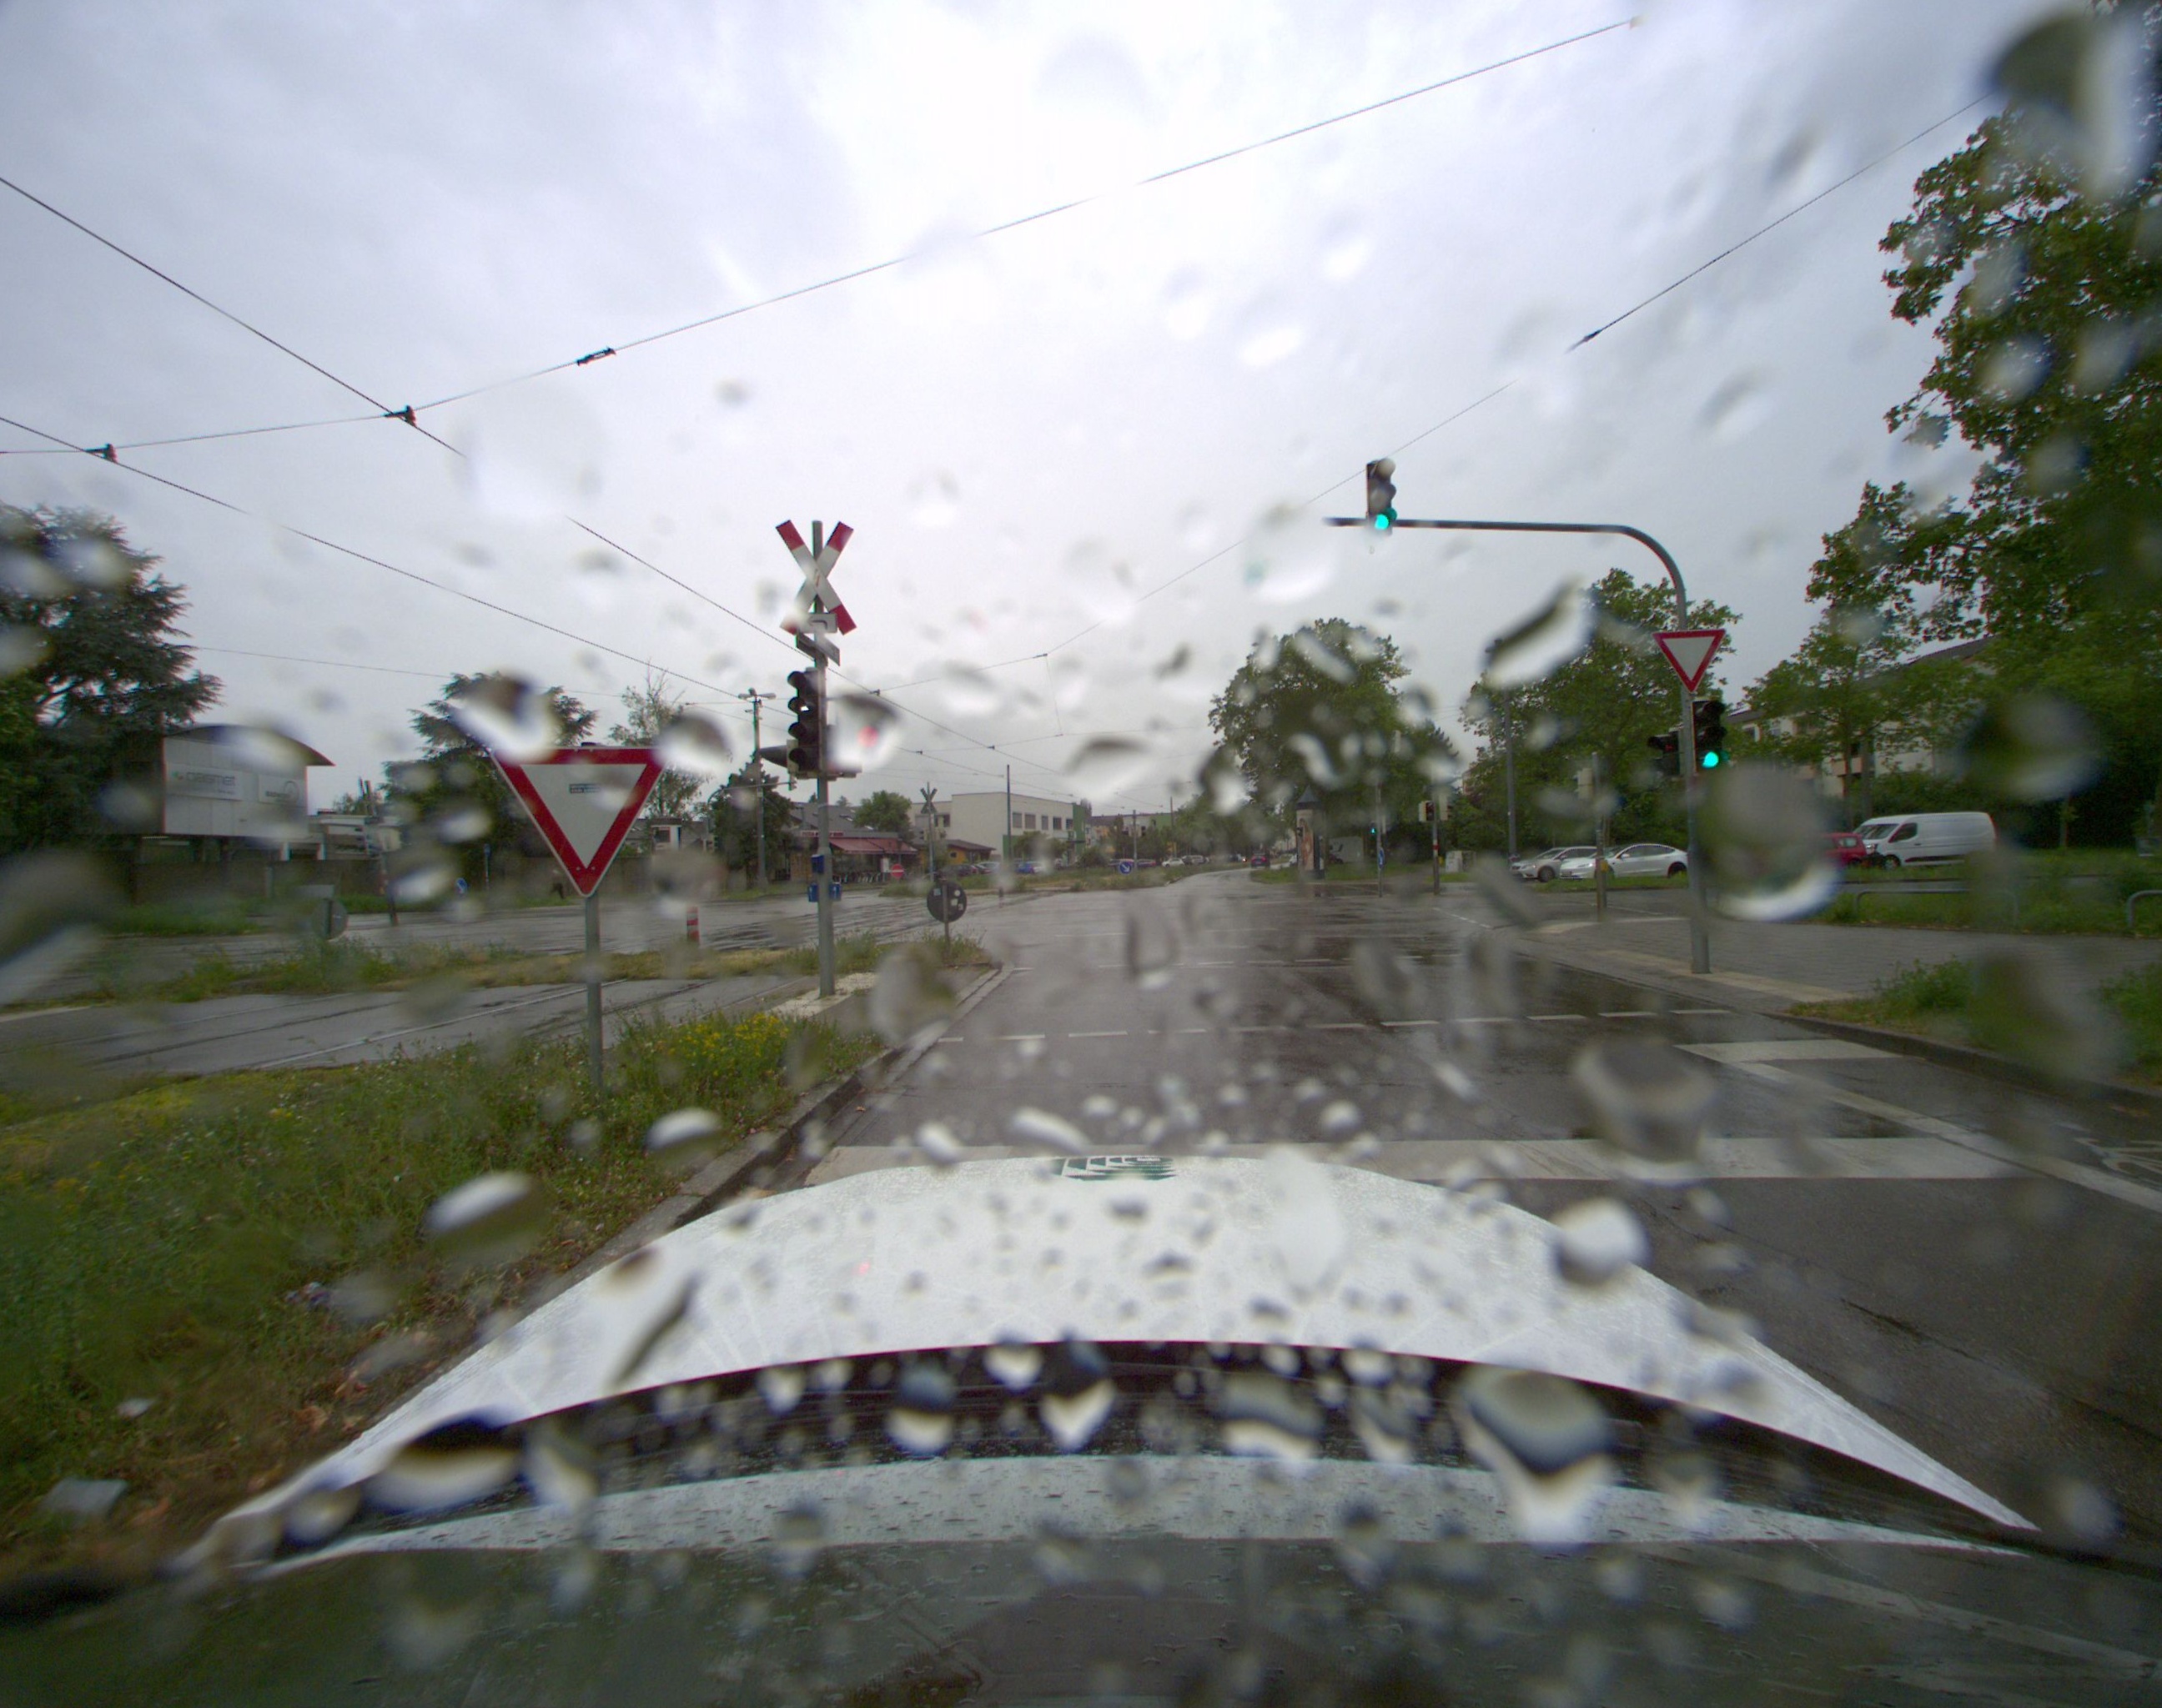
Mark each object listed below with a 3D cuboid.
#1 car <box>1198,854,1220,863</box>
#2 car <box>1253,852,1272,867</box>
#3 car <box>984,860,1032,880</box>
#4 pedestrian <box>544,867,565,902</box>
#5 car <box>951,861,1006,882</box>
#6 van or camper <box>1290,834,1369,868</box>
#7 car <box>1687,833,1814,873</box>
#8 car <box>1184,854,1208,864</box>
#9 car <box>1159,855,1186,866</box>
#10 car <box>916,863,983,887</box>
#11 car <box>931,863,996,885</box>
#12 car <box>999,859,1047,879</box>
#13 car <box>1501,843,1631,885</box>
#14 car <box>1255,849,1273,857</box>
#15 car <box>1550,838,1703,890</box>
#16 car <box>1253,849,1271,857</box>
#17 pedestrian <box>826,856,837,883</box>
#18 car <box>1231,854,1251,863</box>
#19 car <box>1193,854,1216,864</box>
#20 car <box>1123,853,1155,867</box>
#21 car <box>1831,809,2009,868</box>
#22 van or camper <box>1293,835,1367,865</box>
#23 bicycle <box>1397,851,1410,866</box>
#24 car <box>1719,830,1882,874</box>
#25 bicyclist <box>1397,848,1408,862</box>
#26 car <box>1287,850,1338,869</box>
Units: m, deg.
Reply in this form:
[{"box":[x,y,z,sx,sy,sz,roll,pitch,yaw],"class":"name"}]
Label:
[{"box":[24.973,0.885,158.545,3.977,1.832,1.998,0,-1,-3],"class":"car"},{"box":[20.656,0.631,92.776,1.792,1.686,3.929,-1,-1,17],"class":"car"},{"box":[-6.271,1.371,70.012,3.986,1.582,1.924,-2,-1,-9],"class":"car"},{"box":[-27.113,1.557,41.947,0.890,1.797,0.719,0,0,-33],"class":"pedestrian"},{"box":[-8.175,1.393,65.143,3.966,1.582,1.862,-2,-1,6],"class":"car"},{"box":[24.461,-0.234,80.138,7.261,3.178,3.278,-1,-1,20],"class":"van or camper"},{"box":[28.193,-0.039,34.349,4.048,1.607,1.788,0,-1,-5],"class":"car"},{"box":[20.414,0.845,144.612,3.986,1.759,2.004,0,-1,-10],"class":"car"},{"box":[14.215,0.948,126.631,3.772,1.702,1.832,0,-1,-8],"class":"car"},{"box":[-9.558,1.517,59.364,4.459,1.418,1.860,-3,-1,3],"class":"car"},{"box":[-8.880,1.515,61.757,4.478,1.418,1.860,-3,-1,3],"class":"car"},{"box":[-5.224,1.360,73.197,4.112,1.641,1.922,-1,-1,-12],"class":"car"},{"box":[20.200,0.417,34.019,4.385,1.691,1.931,0,-1,-5],"class":"car"},{"box":[45.495,-0.261,202.605,3.977,1.832,1.998,0,-1,-3],"class":"car"},{"box":[20.475,0.368,30.673,4.585,1.828,1.931,0,-1,-5],"class":"car"},{"box":[44.048,-0.153,197.902,3.977,1.832,1.998,0,-1,-3],"class":"car"},{"box":[-18.788,1.180,61.255,0.726,2.014,0.789,0,-1,-21],"class":"pedestrian"},{"box":[34.092,0.935,173.475,3.977,1.832,1.998,0,-1,-3],"class":"car"},{"box":[23.235,0.858,153.513,3.986,1.832,1.994,0,-1,-10],"class":"car"},{"box":[7.814,0.842,110.062,3.980,1.887,1.997,0,-1,-5],"class":"car"},{"box":[35.472,-0.626,34.542,5.589,2.392,1.999,0,-1,-2],"class":"car"},{"box":[27.234,-0.365,89.162,7.359,3.178,3.281,-1,-1,24],"class":"van or camper"},{"box":[32.973,0.454,83.332,0.855,1.425,2.712,-1,-1,12],"class":"bicycle"},{"box":[26.985,-0.068,30.653,4.589,1.607,1.790,0,-1,-1],"class":"car"},{"box":[33.065,0.074,83.791,0.855,1.425,0.959,-1,-1,12],"class":"bicyclist"},{"box":[21.970,0.503,77.240,4.405,1.717,2.011,-1,-1,23],"class":"car"}]
